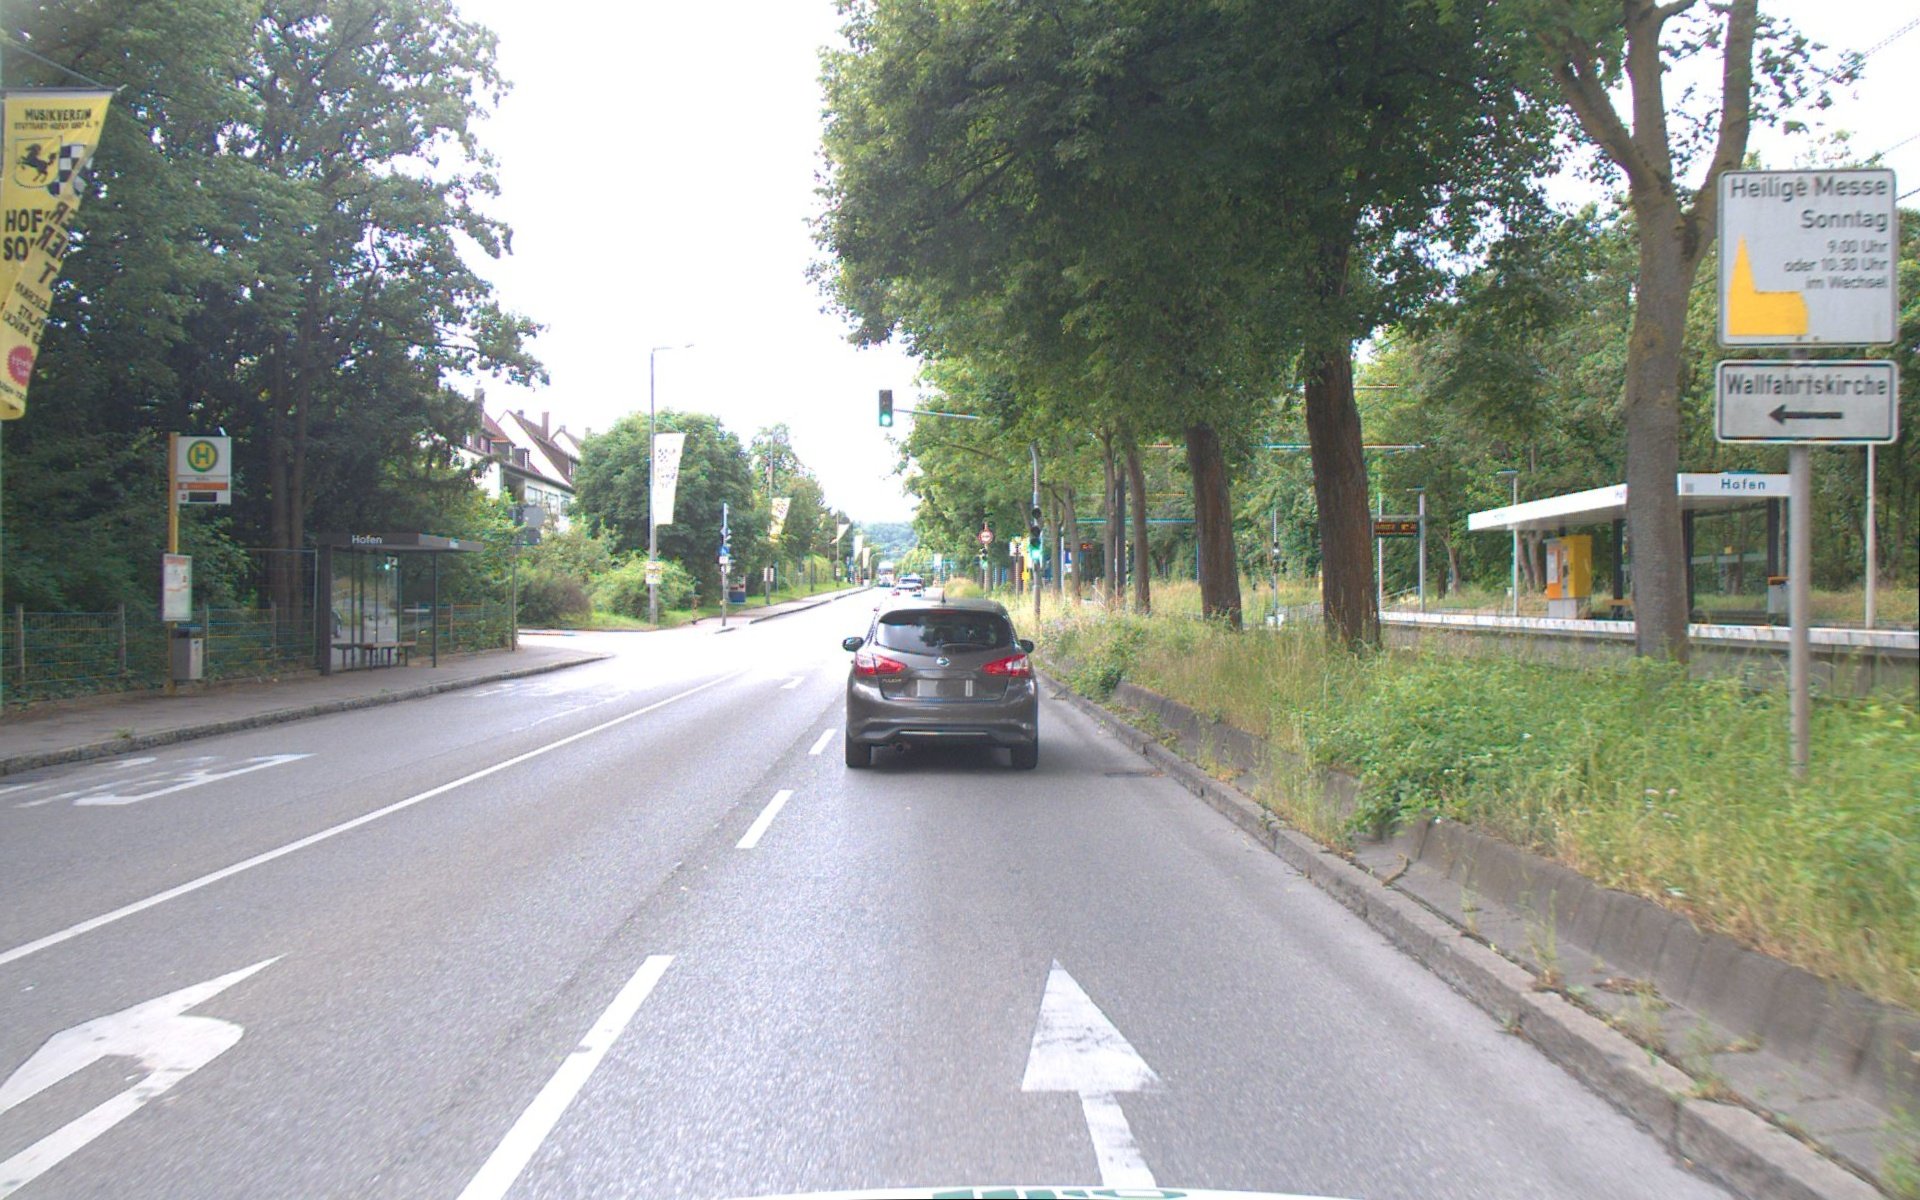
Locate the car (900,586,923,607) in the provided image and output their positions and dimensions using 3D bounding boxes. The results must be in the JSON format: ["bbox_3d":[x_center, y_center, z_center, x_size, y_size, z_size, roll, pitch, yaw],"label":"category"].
[{"bbox_3d":[-3.528,-0.267,120.797,1.657,1.466,3.540,1,0,-2],"label":"car"}]

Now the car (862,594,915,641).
[{"bbox_3d":[-2.314,0.540,53.949,1.657,1.466,3.540,1,0,-2],"label":"car"}]

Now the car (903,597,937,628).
[{"bbox_3d":[-2.010,0.611,82.693,1.657,1.466,3.540,1,0,-2],"label":"car"}]

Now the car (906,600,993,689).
[{"bbox_3d":[-0.222,0.758,29.849,1.471,1.466,3.540,1,0,-2],"label":"car"}]

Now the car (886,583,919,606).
[{"bbox_3d":[-3.574,-0.319,103.339,1.953,1.344,3.999,2,-1,-1],"label":"car"}]

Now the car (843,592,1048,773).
[{"bbox_3d":[-0.151,0.705,15.963,1.747,1.533,3.695,0,0,-1],"label":"car"}]

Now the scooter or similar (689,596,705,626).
[{"bbox_3d":[-11.452,0.481,71.961,0.453,1.281,1.426,0,0,0],"label":"scooter or similar"}]
